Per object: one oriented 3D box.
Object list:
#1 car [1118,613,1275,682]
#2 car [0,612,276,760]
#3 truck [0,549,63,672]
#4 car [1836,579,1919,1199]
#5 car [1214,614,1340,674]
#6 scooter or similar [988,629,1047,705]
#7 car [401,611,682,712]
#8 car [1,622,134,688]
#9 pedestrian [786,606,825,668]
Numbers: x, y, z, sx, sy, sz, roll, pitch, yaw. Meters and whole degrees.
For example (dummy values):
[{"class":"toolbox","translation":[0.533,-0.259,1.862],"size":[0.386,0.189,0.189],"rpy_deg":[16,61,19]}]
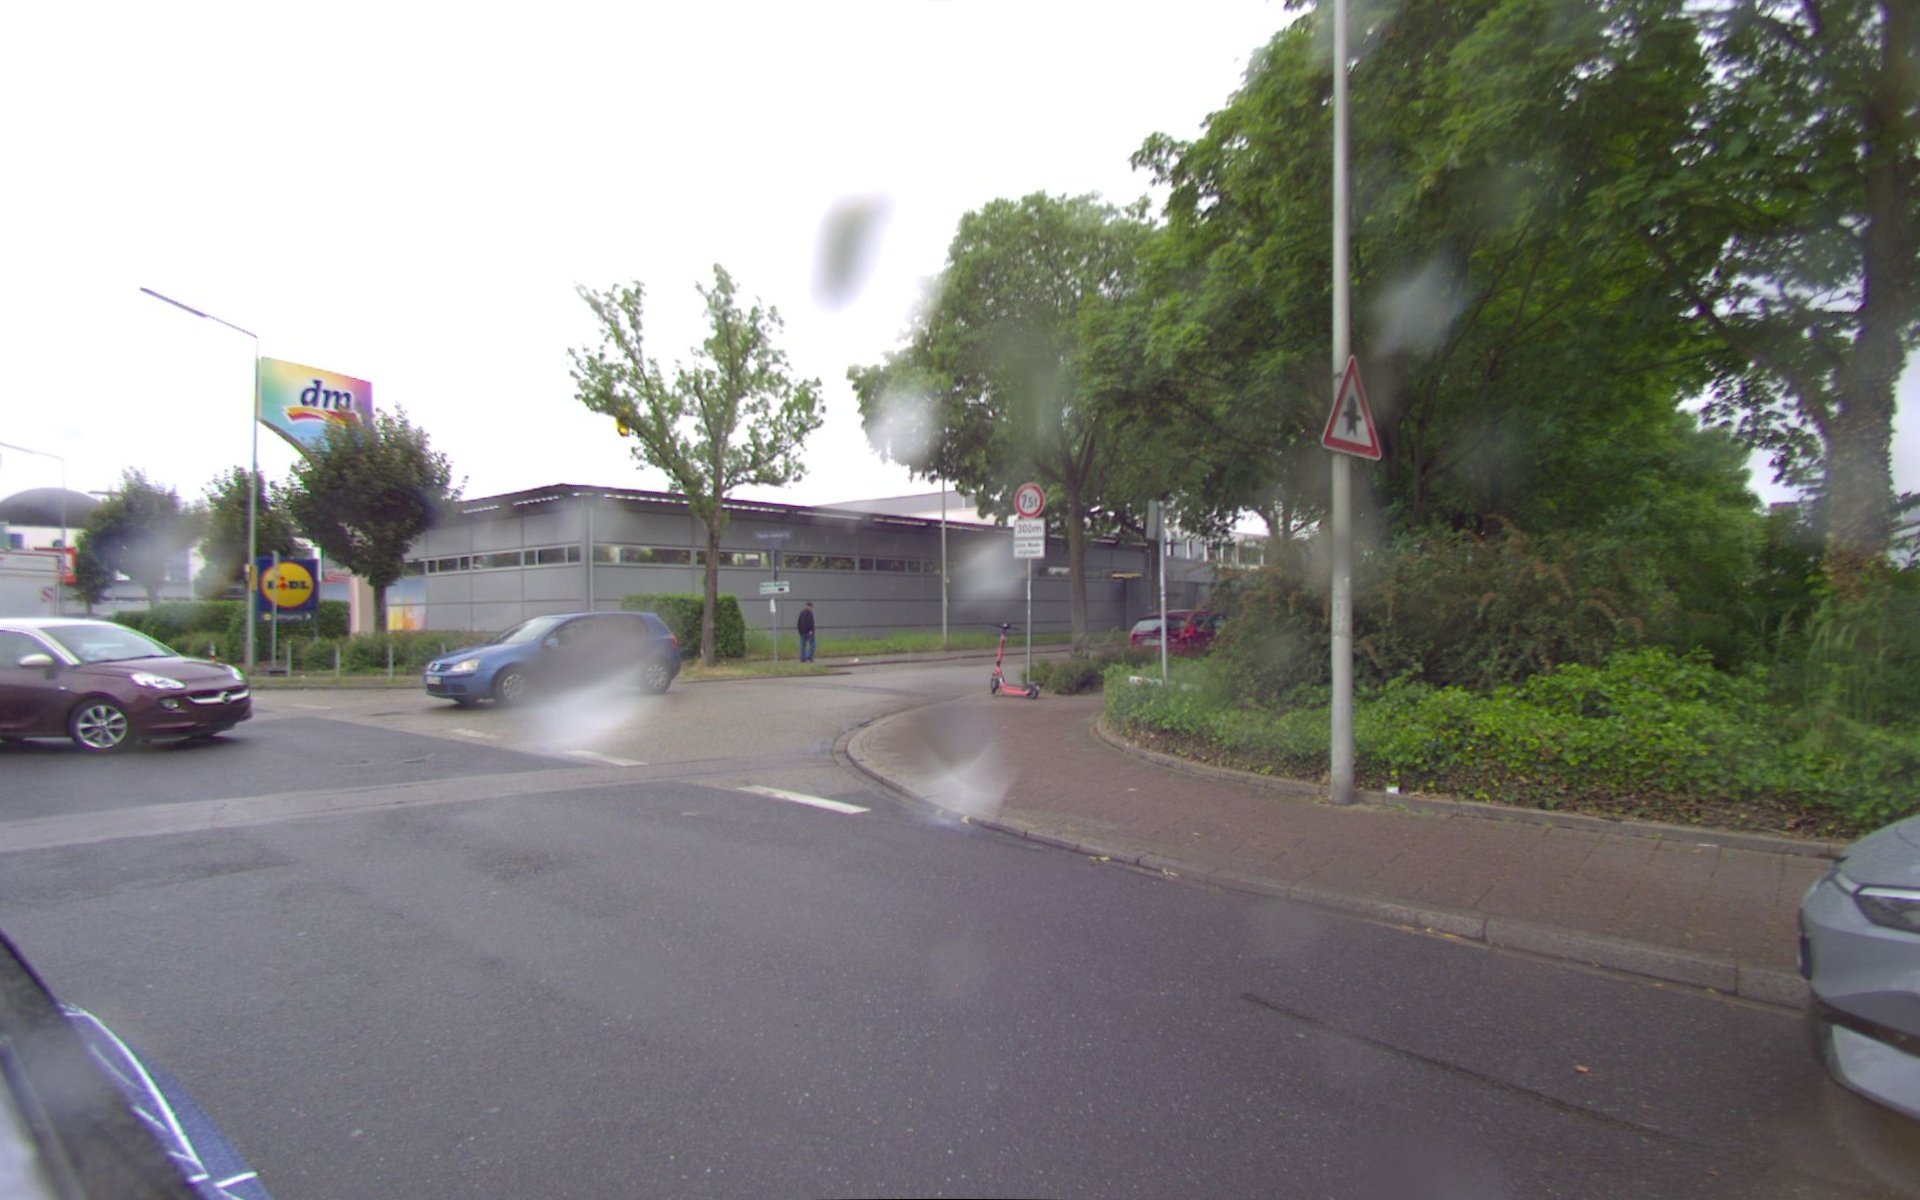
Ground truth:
[{"class":"car","translation":[5.212,0.994,21.978],"size":[1.735,1.374,3.946],"rpy_deg":[-2,-2,40]},{"class":"car","translation":[-9.972,0.919,11.324],"size":[3.527,1.466,1.638],"rpy_deg":[-1,0,0]},{"class":"truck","translation":[-32.362,0.380,33.659],"size":[7.864,3.775,2.851],"rpy_deg":[-1,-1,42]},{"class":"car","translation":[4.636,0.755,1.679],"size":[4.744,1.540,1.790],"rpy_deg":[-1,-5,40]},{"class":"car","translation":[8.264,1.110,26.231],"size":[1.735,1.452,3.946],"rpy_deg":[-2,-2,40]},{"class":"scooter or similar","translation":[0.922,1.058,16.353],"size":[0.280,1.184,1.061],"rpy_deg":[1,-1,-42]},{"class":"car","translation":[-6.768,0.949,16.702],"size":[1.735,1.452,3.946],"rpy_deg":[-2,-2,40]},{"class":"car","translation":[-21.650,1.277,24.484],"size":[4.489,1.445,1.817],"rpy_deg":[-1,-3,41]},{"class":"pedestrian","translation":[-4.287,1.012,28.130],"size":[0.757,1.686,0.772],"rpy_deg":[-1,-1,38]}]
